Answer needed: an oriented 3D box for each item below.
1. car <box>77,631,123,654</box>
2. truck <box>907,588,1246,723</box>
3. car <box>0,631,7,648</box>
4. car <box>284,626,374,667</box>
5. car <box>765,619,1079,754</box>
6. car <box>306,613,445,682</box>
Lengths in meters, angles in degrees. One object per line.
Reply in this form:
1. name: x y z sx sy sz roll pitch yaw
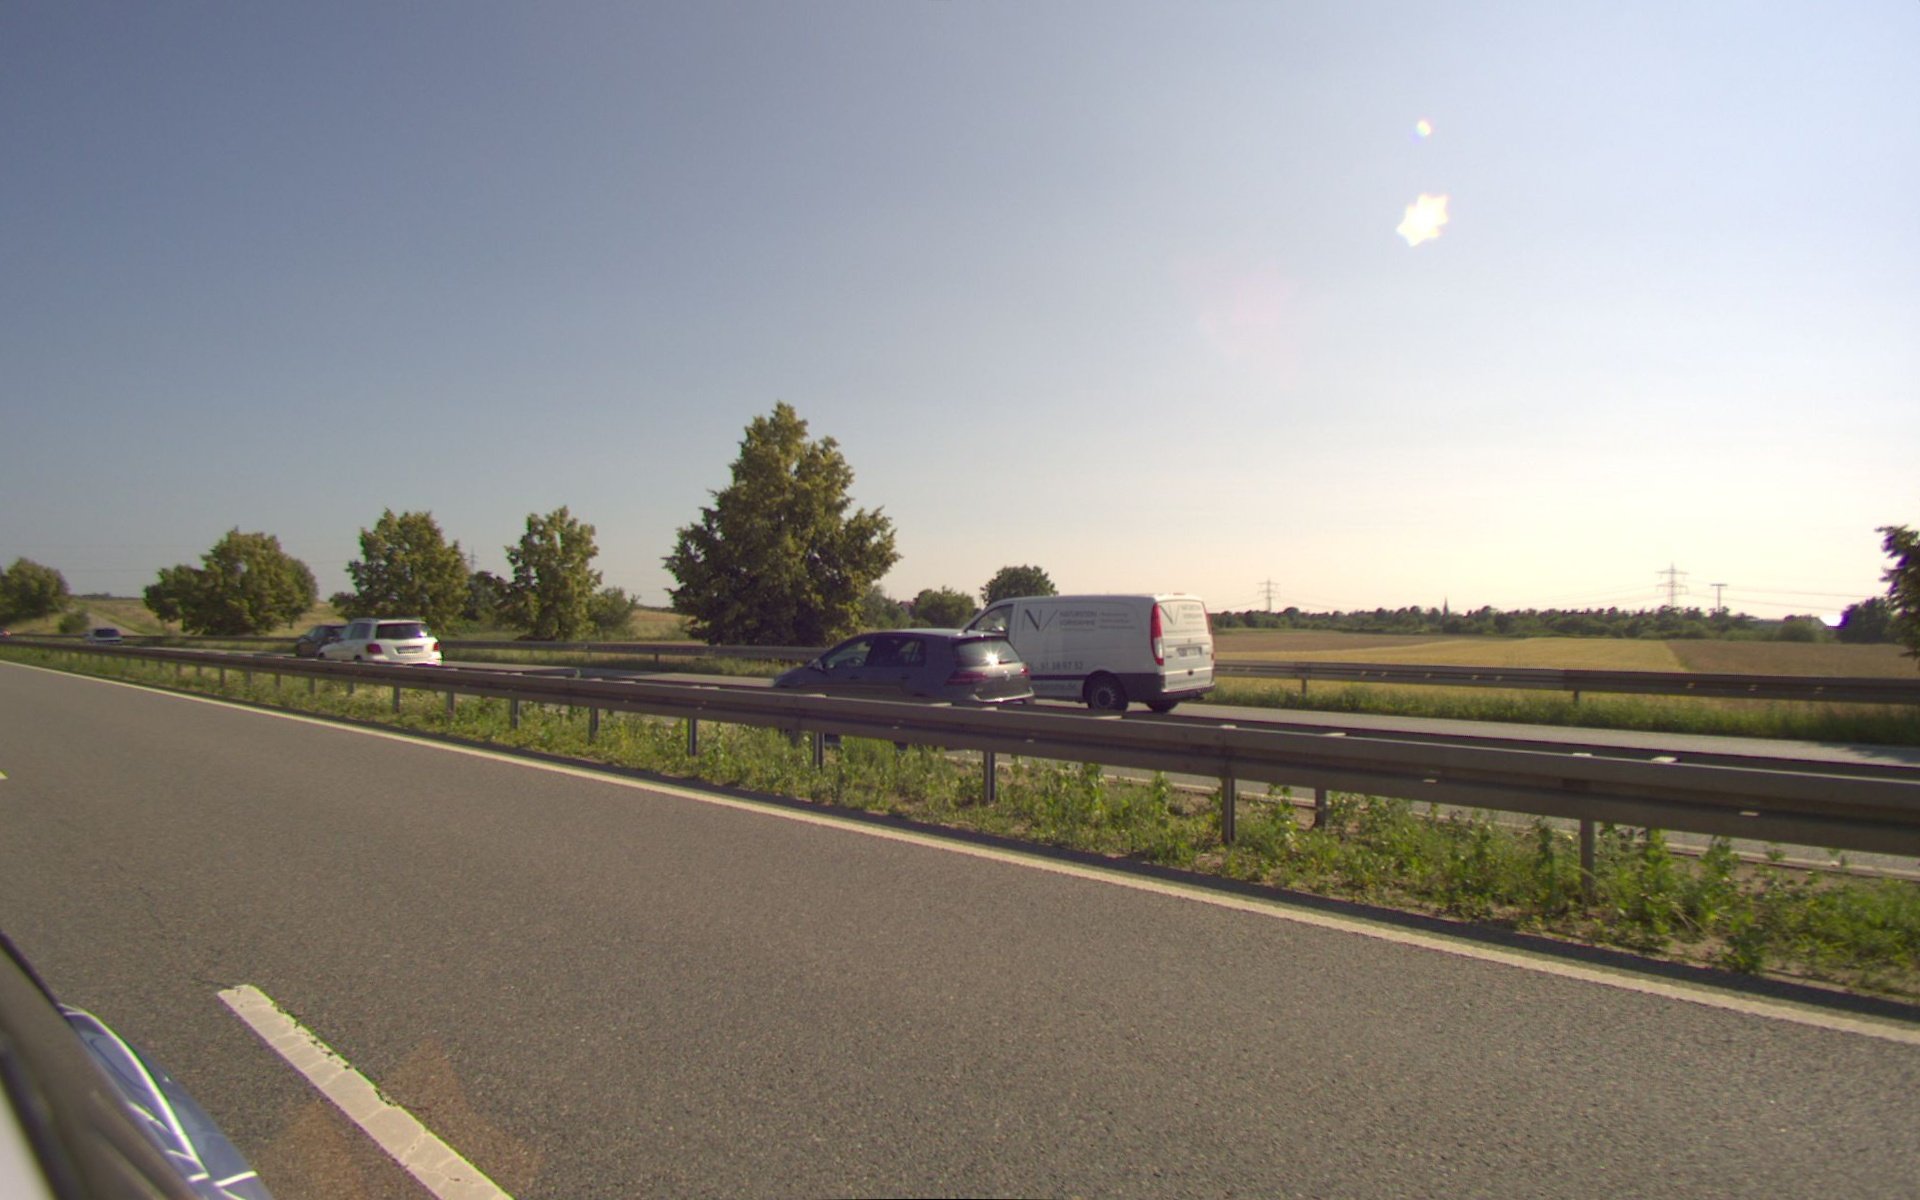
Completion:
1. car: -58.270 2.851 68.564 3.935 1.448 1.674 -2 -1 39
2. truck: 1.712 0.832 16.376 5.289 1.854 1.902 -2 -1 41
3. car: -91.586 3.736 95.851 4.243 1.553 1.672 -2 -1 42
4. car: -24.761 1.806 39.654 4.457 1.483 1.820 -2 -1 41
5. car: -0.609 1.053 13.560 4.036 1.457 1.820 -2 0 41
6. car: -15.679 1.205 27.037 4.720 1.677 1.820 -1 0 42
